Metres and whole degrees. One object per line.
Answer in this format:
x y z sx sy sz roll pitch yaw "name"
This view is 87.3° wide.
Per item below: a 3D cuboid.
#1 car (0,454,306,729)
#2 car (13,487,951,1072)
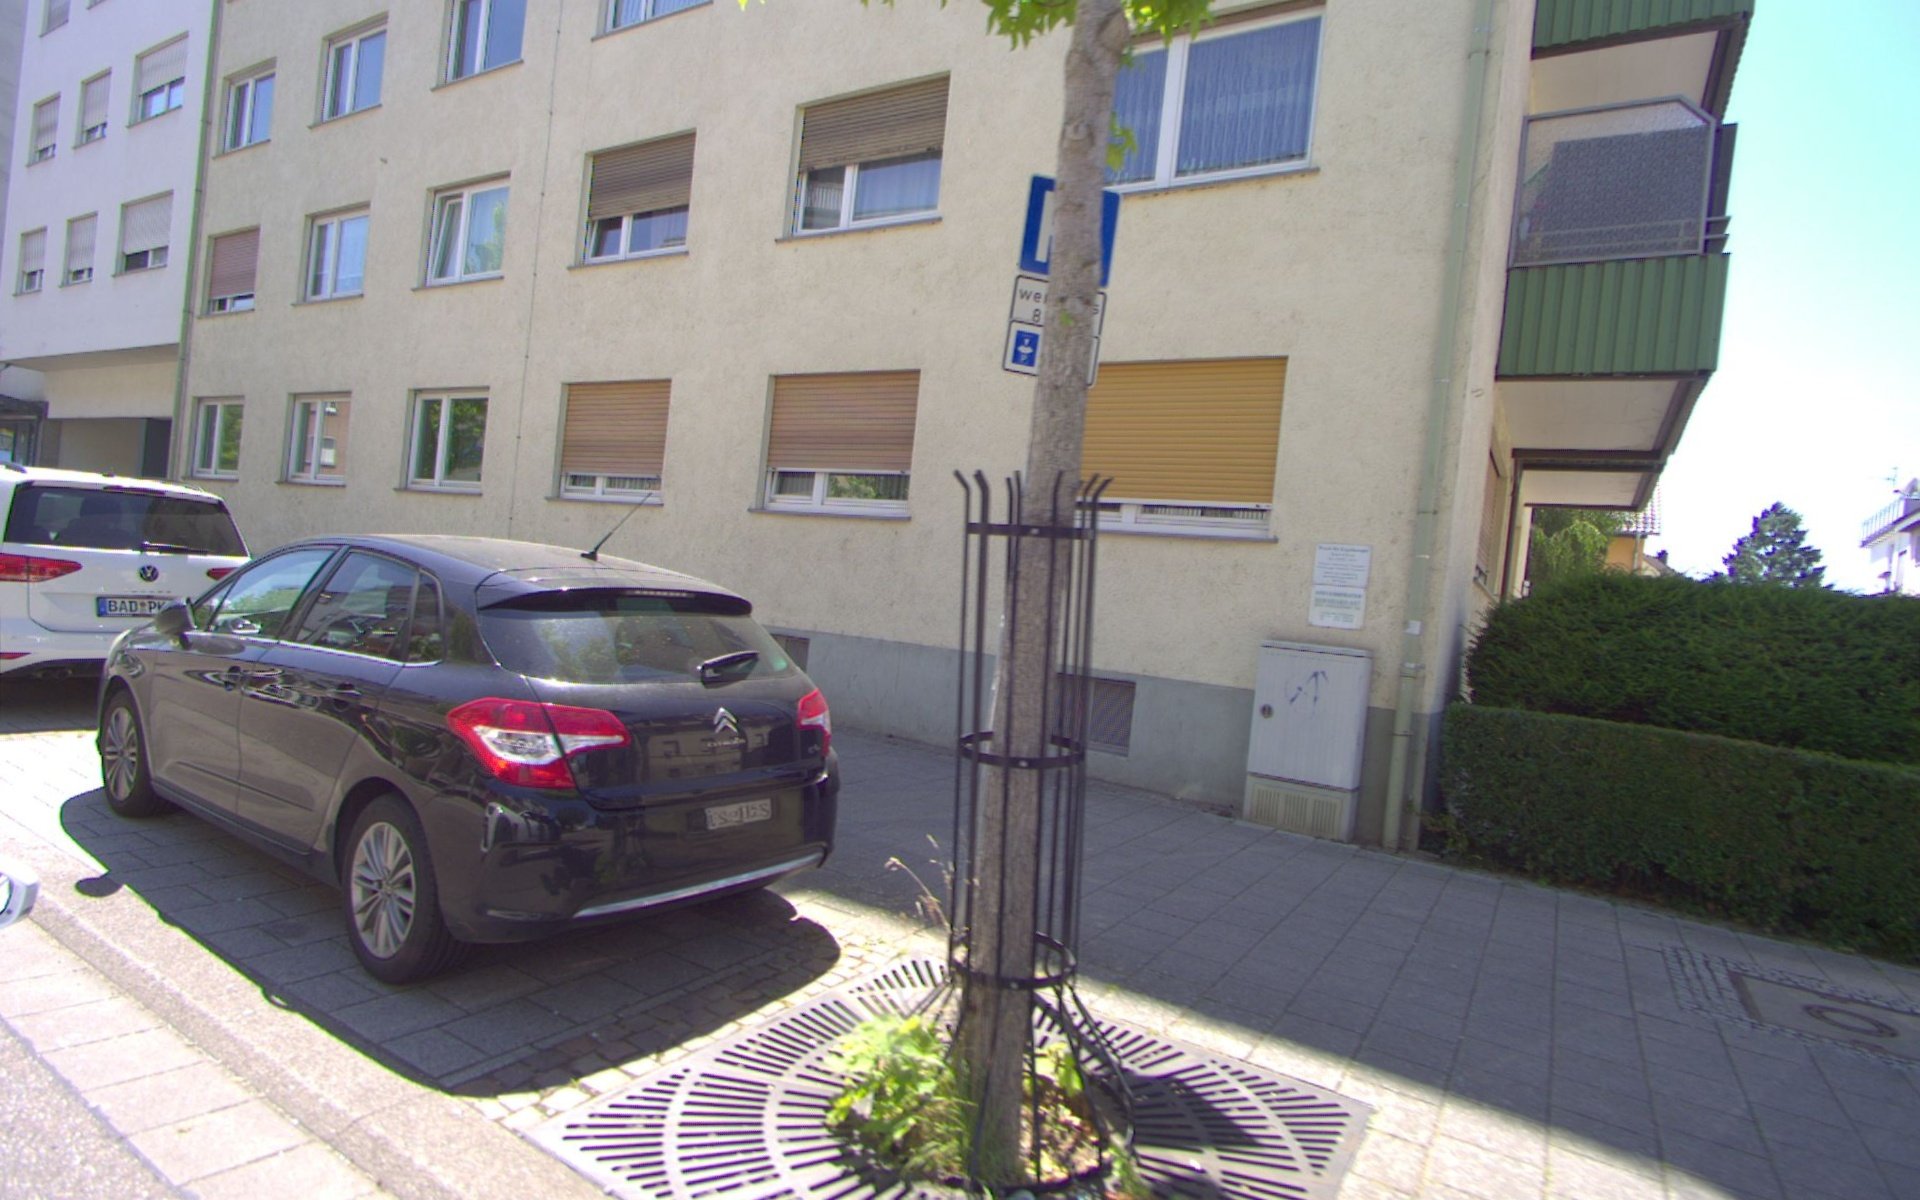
-7.522 -0.235 8.022 4.611 1.696 1.898 7 1 30 "car"
-2.478 0.422 4.763 4.471 1.456 1.897 7 0 34 "car"
